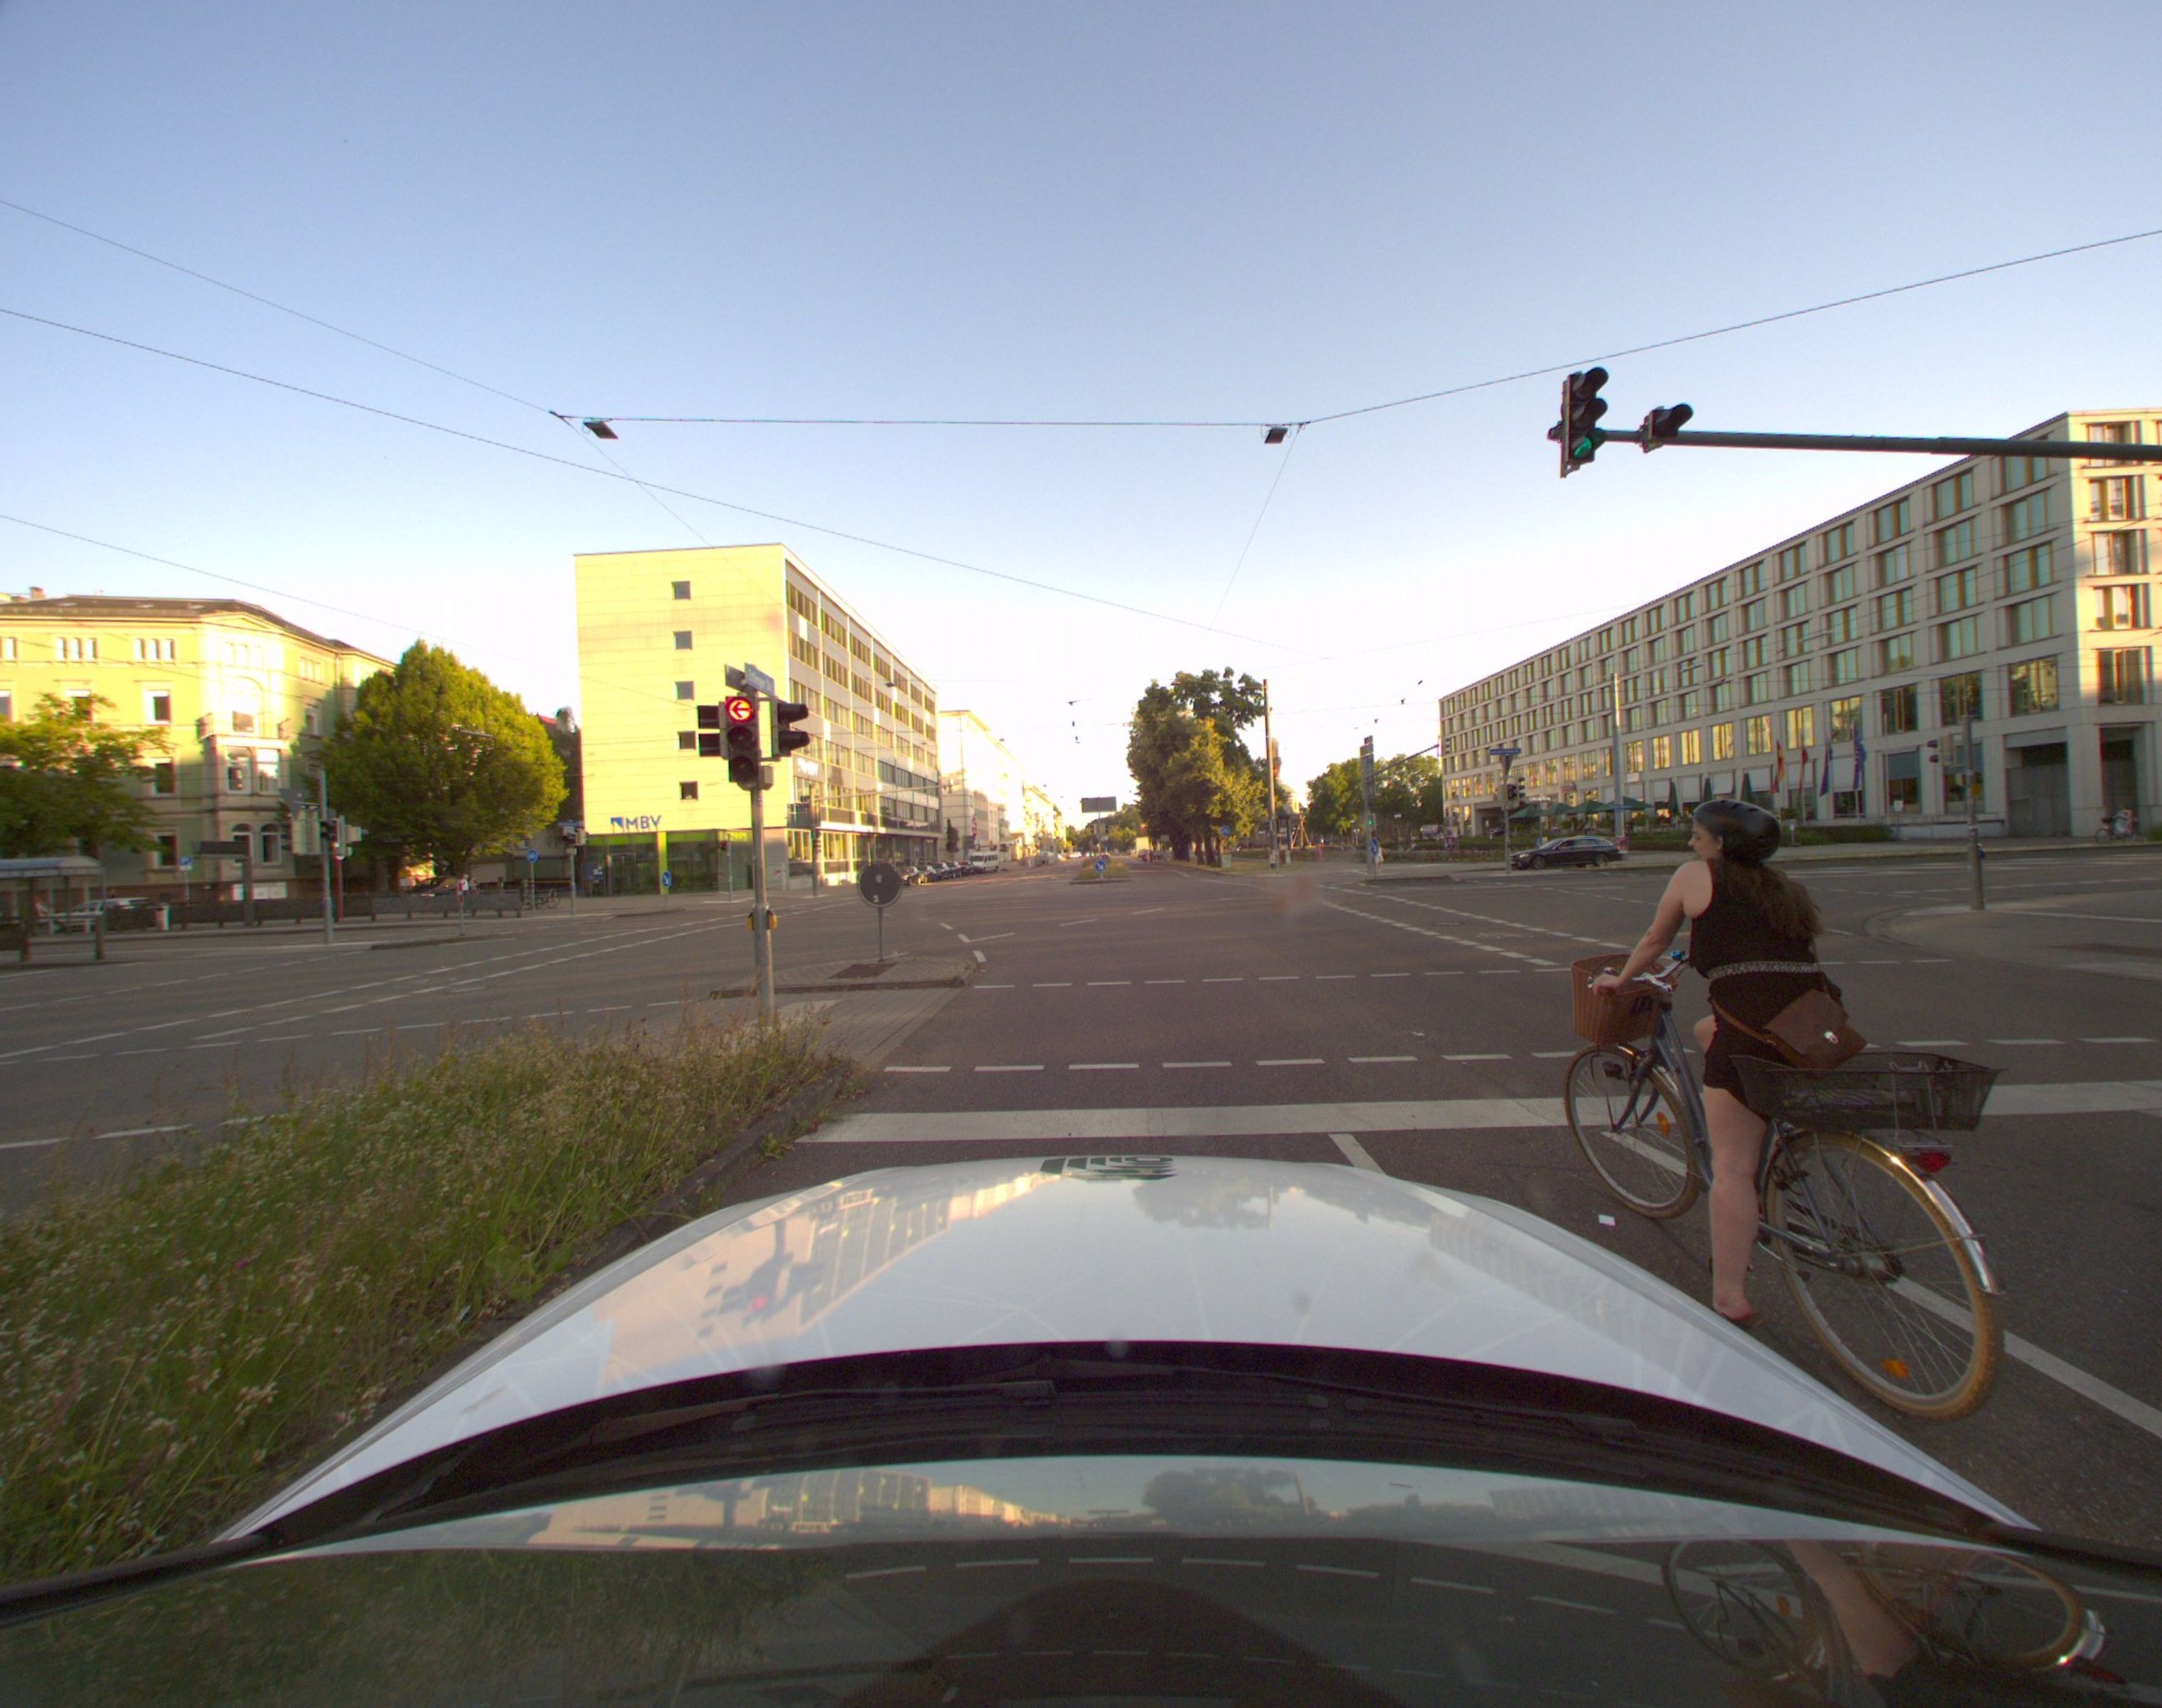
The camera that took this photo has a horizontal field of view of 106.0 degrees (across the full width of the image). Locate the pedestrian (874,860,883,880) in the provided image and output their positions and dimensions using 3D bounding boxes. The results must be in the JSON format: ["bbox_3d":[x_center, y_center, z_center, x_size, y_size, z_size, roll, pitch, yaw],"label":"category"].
[{"bbox_3d":[-17.874,1.424,71.986,0.549,1.679,0.500,-3,0,1],"label":"pedestrian"}]

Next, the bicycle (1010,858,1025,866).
[{"bbox_3d":[-10.073,1.294,129.329,2.198,1.236,0.839,-3,0,0],"label":"bicycle"}]

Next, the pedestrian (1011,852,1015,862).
[{"bbox_3d":[-13.830,0.671,165.340,0.677,2.013,0.545,-3,0,1],"label":"pedestrian"}]

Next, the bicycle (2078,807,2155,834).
[{"bbox_3d":[46.988,-1.512,36.967,2.762,1.106,0.602,-3,0,-1],"label":"bicycle"}]

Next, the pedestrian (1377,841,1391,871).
[{"bbox_3d":[15.987,0.106,42.994,0.489,1.540,0.408,-3,0,1],"label":"pedestrian"}]

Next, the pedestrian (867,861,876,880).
[{"bbox_3d":[-18.294,1.434,71.160,0.549,1.679,0.500,-3,0,1],"label":"pedestrian"}]

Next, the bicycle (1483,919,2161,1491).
[{"bbox_3d":[2.188,0.879,2.855,0.609,1.132,2.005,-1,0,2],"label":"bicycle"}]

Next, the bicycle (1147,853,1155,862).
[{"bbox_3d":[8.601,0.411,99.916,0.744,1.144,2.506,-3,0,2],"label":"bicycle"}]

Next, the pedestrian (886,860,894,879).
[{"bbox_3d":[-16.757,1.354,71.496,0.549,1.679,0.500,-3,0,1],"label":"pedestrian"}]

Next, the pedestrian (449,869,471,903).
[{"bbox_3d":[-33.292,1.719,43.645,0.641,1.790,0.720,-3,0,-12],"label":"pedestrian"}]

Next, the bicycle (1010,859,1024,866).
[{"bbox_3d":[-10.009,1.338,127.414,2.198,1.112,0.689,-3,0,0],"label":"bicycle"}]

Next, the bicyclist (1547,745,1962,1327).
[{"bbox_3d":[2.184,0.514,2.798,0.597,1.636,0.999,-1,0,2],"label":"bicyclist"}]

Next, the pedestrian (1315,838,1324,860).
[{"bbox_3d":[17.622,-0.365,60.124,0.458,1.656,0.567,-3,0,1],"label":"pedestrian"}]

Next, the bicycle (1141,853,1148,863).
[{"bbox_3d":[7.777,0.498,100.147,0.744,1.144,2.506,-3,0,2],"label":"bicycle"}]

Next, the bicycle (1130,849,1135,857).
[{"bbox_3d":[13.145,-0.275,208.480,0.998,2.013,4.000,-3,0,1],"label":"bicycle"}]

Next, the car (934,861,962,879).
[{"bbox_3d":[-12.855,1.575,79.021,1.913,1.568,4.002,-3,0,2],"label":"car"}]

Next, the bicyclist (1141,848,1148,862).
[{"bbox_3d":[7.748,0.150,99.836,0.744,1.663,0.873,-3,0,1],"label":"bicyclist"}]

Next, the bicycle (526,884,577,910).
[{"bbox_3d":[-25.889,2.073,39.855,0.832,1.112,2.216,-3,0,6],"label":"bicycle"}]

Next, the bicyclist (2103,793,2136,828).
[{"bbox_3d":[47.174,-1.960,36.983,0.705,1.537,0.577,-3,0,-1],"label":"bicyclist"}]

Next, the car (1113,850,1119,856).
[{"bbox_3d":[9.956,-0.161,231.179,1.403,1.641,4.000,-3,0,1],"label":"car"}]

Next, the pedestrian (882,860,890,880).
[{"bbox_3d":[-17.265,1.403,72.028,0.498,1.679,0.500,-3,0,1],"label":"pedestrian"}]

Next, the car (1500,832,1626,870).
[{"bbox_3d":[23.133,-0.140,39.212,4.803,1.515,2.002,-3,0,4],"label":"car"}]

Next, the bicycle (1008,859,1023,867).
[{"bbox_3d":[-10.088,1.322,125.975,2.198,1.112,0.619,-3,0,0],"label":"bicycle"}]

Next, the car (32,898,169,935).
[{"bbox_3d":[-45.231,2.846,37.668,3.588,1.372,1.833,-3,0,-15],"label":"car"}]

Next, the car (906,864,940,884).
[{"bbox_3d":[-13.314,1.648,68.906,1.913,1.464,4.002,-3,0,2],"label":"car"}]

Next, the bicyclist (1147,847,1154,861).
[{"bbox_3d":[8.580,0.029,99.923,0.744,1.691,0.799,-3,0,1],"label":"bicyclist"}]

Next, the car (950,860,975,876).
[{"bbox_3d":[-12.387,1.447,85.244,1.913,1.568,4.002,-3,0,2],"label":"car"}]

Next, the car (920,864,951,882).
[{"bbox_3d":[-13.107,1.685,73.719,1.913,1.464,4.002,-3,0,2],"label":"car"}]

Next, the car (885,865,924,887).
[{"bbox_3d":[-13.510,1.661,62.410,1.913,1.464,4.105,-3,0,2],"label":"car"}]

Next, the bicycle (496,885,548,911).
[{"bbox_3d":[-27.114,2.129,39.550,0.832,1.112,2.216,-3,0,6],"label":"bicycle"}]

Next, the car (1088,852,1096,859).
[{"bbox_3d":[2.820,0.390,215.966,1.855,1.519,4.003,-3,0,3],"label":"car"}]

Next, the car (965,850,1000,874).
[{"bbox_3d":[-11.061,0.868,91.679,1.988,2.478,5.888,-3,0,12],"label":"car"}]

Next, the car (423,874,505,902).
[{"bbox_3d":[-35.145,1.921,46.484,1.830,1.372,3.594,-3,0,0],"label":"car"}]

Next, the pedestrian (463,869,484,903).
[{"bbox_3d":[-33.159,1.725,44.450,0.641,1.790,0.720,-3,0,-12],"label":"pedestrian"}]
